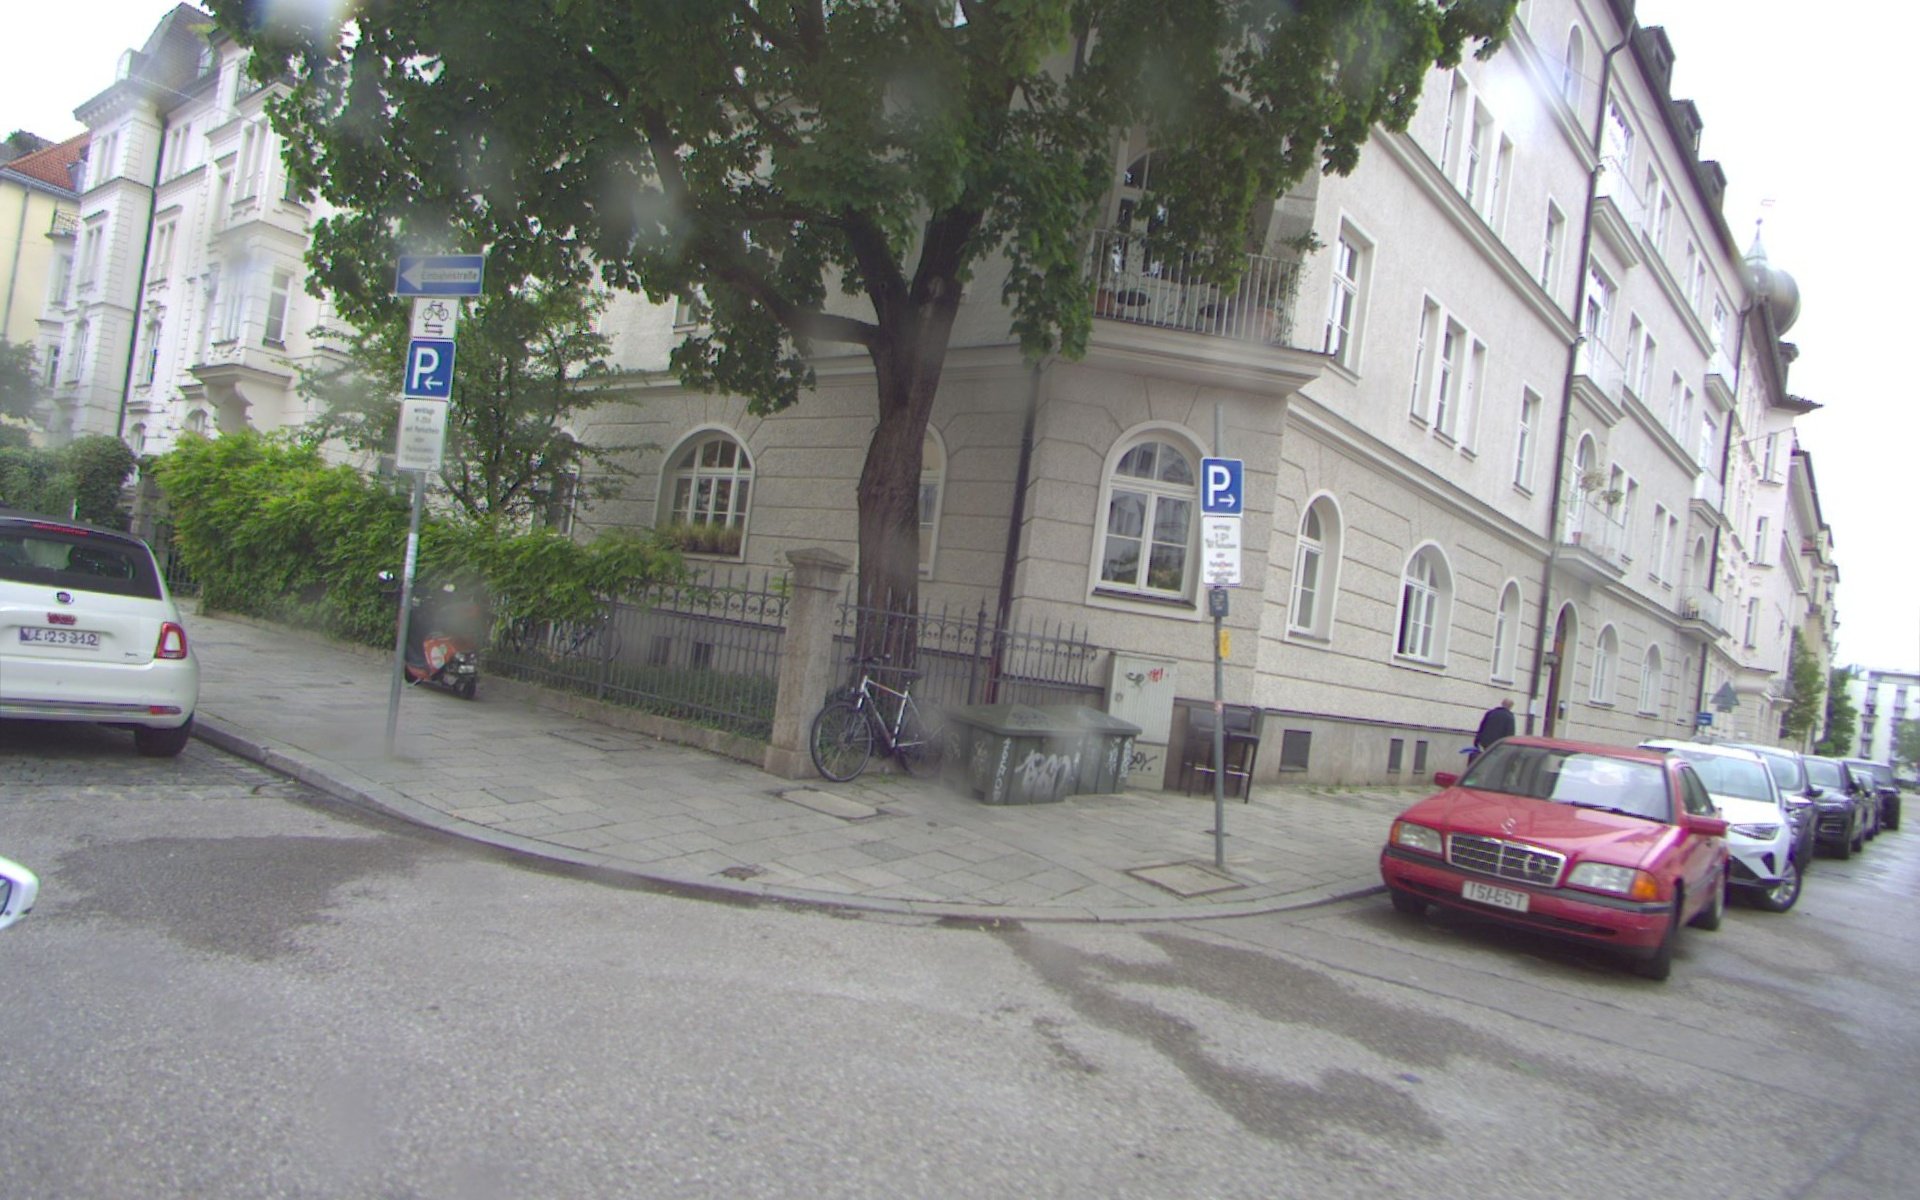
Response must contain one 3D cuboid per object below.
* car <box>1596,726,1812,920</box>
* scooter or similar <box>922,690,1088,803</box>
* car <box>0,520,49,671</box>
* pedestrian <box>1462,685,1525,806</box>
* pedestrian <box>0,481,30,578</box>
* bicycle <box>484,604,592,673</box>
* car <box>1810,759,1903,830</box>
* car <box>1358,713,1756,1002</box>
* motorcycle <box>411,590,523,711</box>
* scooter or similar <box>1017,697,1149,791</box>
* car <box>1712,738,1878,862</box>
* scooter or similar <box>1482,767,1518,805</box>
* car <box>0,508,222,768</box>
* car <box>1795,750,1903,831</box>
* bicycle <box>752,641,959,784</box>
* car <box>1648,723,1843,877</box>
[{"bbox_3d":[8.338,2.333,11.167,1.543,1.538,3.885,6,-3,40],"label":"car"},{"bbox_3d":[0.432,1.369,9.424,0.912,0.858,1.181,6,-3,45],"label":"scooter or similar"},{"bbox_3d":[-11.534,-0.338,10.613,4.558,1.436,1.653,6,-6,34],"label":"car"},{"bbox_3d":[8.996,2.442,16.964,0.730,1.897,0.494,7,-2,31],"label":"pedestrian"},{"bbox_3d":[-18.791,-1.403,19.531,0.647,1.829,0.631,7,-2,12],"label":"pedestrian"},{"bbox_3d":[-6.599,0.584,15.656,2.241,0.821,0.491,6,-3,40],"label":"bicycle"},{"bbox_3d":[26.873,5.786,30.108,1.809,1.689,4.039,6,-3,44],"label":"car"},{"bbox_3d":[4.901,1.777,7.906,1.737,1.373,4.462,6,-2,42],"label":"car"},{"bbox_3d":[-5.184,0.512,10.548,1.382,1.102,0.362,6,-2,38],"label":"motorcycle"},{"bbox_3d":[1.305,1.516,10.541,0.688,0.835,1.235,6,-3,44],"label":"scooter or similar"},{"bbox_3d":[15.212,3.534,18.239,1.865,1.682,4.271,6,-2,44],"label":"car"},{"bbox_3d":[8.766,3.014,16.320,0.451,0.507,0.382,6,-2,31],"label":"scooter or similar"},{"bbox_3d":[-6.844,0.102,7.073,3.737,1.488,1.503,6,-2,36],"label":"car"},{"bbox_3d":[23.822,5.050,26.902,1.865,1.682,4.272,6,-3,44],"label":"car"},{"bbox_3d":[-0.907,1.052,9.199,0.555,1.137,1.834,7,-2,45],"label":"bicycle"},{"bbox_3d":[11.721,2.821,14.900,1.730,1.731,4.318,4,-3,44],"label":"car"}]
